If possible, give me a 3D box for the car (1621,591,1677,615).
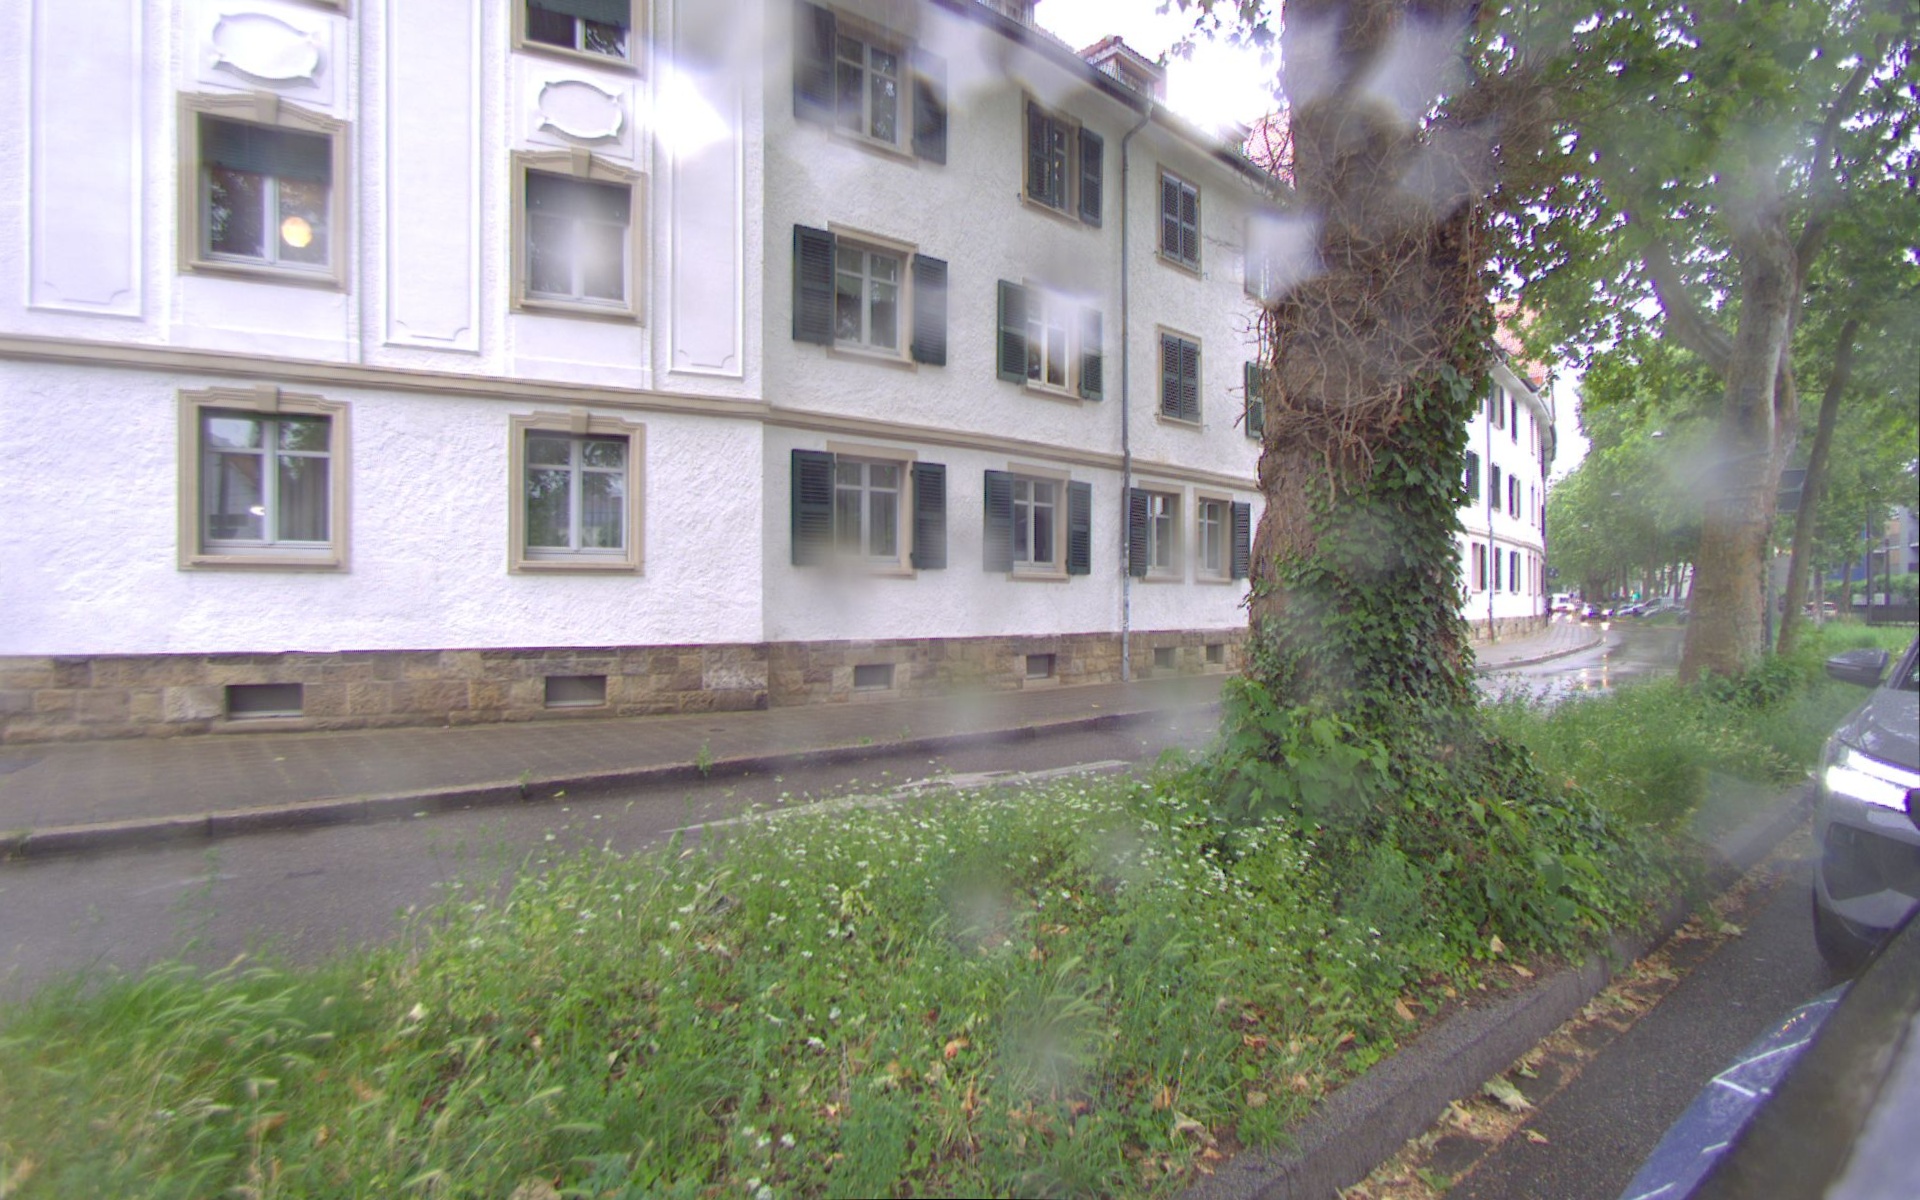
[{"bbox_3d":[60.769,0.276,89.297,3.969,2.039,1.977,0,-1,32],"label":"car"}]

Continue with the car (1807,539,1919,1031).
[{"bbox_3d":[5.150,0.614,4.323,4.039,1.662,1.913,0,0,-44],"label":"car"}]

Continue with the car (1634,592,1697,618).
[{"bbox_3d":[55.908,0.377,80.313,3.969,2.039,1.977,0,-1,32],"label":"car"}]

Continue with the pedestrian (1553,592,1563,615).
[{"bbox_3d":[48.212,0.294,81.609,0.668,1.845,0.672,0,0,31],"label":"pedestrian"}]

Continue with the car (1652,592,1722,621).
[{"bbox_3d":[52.642,0.462,73.407,3.969,2.039,1.977,0,-1,32],"label":"car"}]

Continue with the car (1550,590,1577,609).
[{"bbox_3d":[73.799,-0.050,123.860,2.173,2.292,5.367,0,0,24],"label":"car"}]
